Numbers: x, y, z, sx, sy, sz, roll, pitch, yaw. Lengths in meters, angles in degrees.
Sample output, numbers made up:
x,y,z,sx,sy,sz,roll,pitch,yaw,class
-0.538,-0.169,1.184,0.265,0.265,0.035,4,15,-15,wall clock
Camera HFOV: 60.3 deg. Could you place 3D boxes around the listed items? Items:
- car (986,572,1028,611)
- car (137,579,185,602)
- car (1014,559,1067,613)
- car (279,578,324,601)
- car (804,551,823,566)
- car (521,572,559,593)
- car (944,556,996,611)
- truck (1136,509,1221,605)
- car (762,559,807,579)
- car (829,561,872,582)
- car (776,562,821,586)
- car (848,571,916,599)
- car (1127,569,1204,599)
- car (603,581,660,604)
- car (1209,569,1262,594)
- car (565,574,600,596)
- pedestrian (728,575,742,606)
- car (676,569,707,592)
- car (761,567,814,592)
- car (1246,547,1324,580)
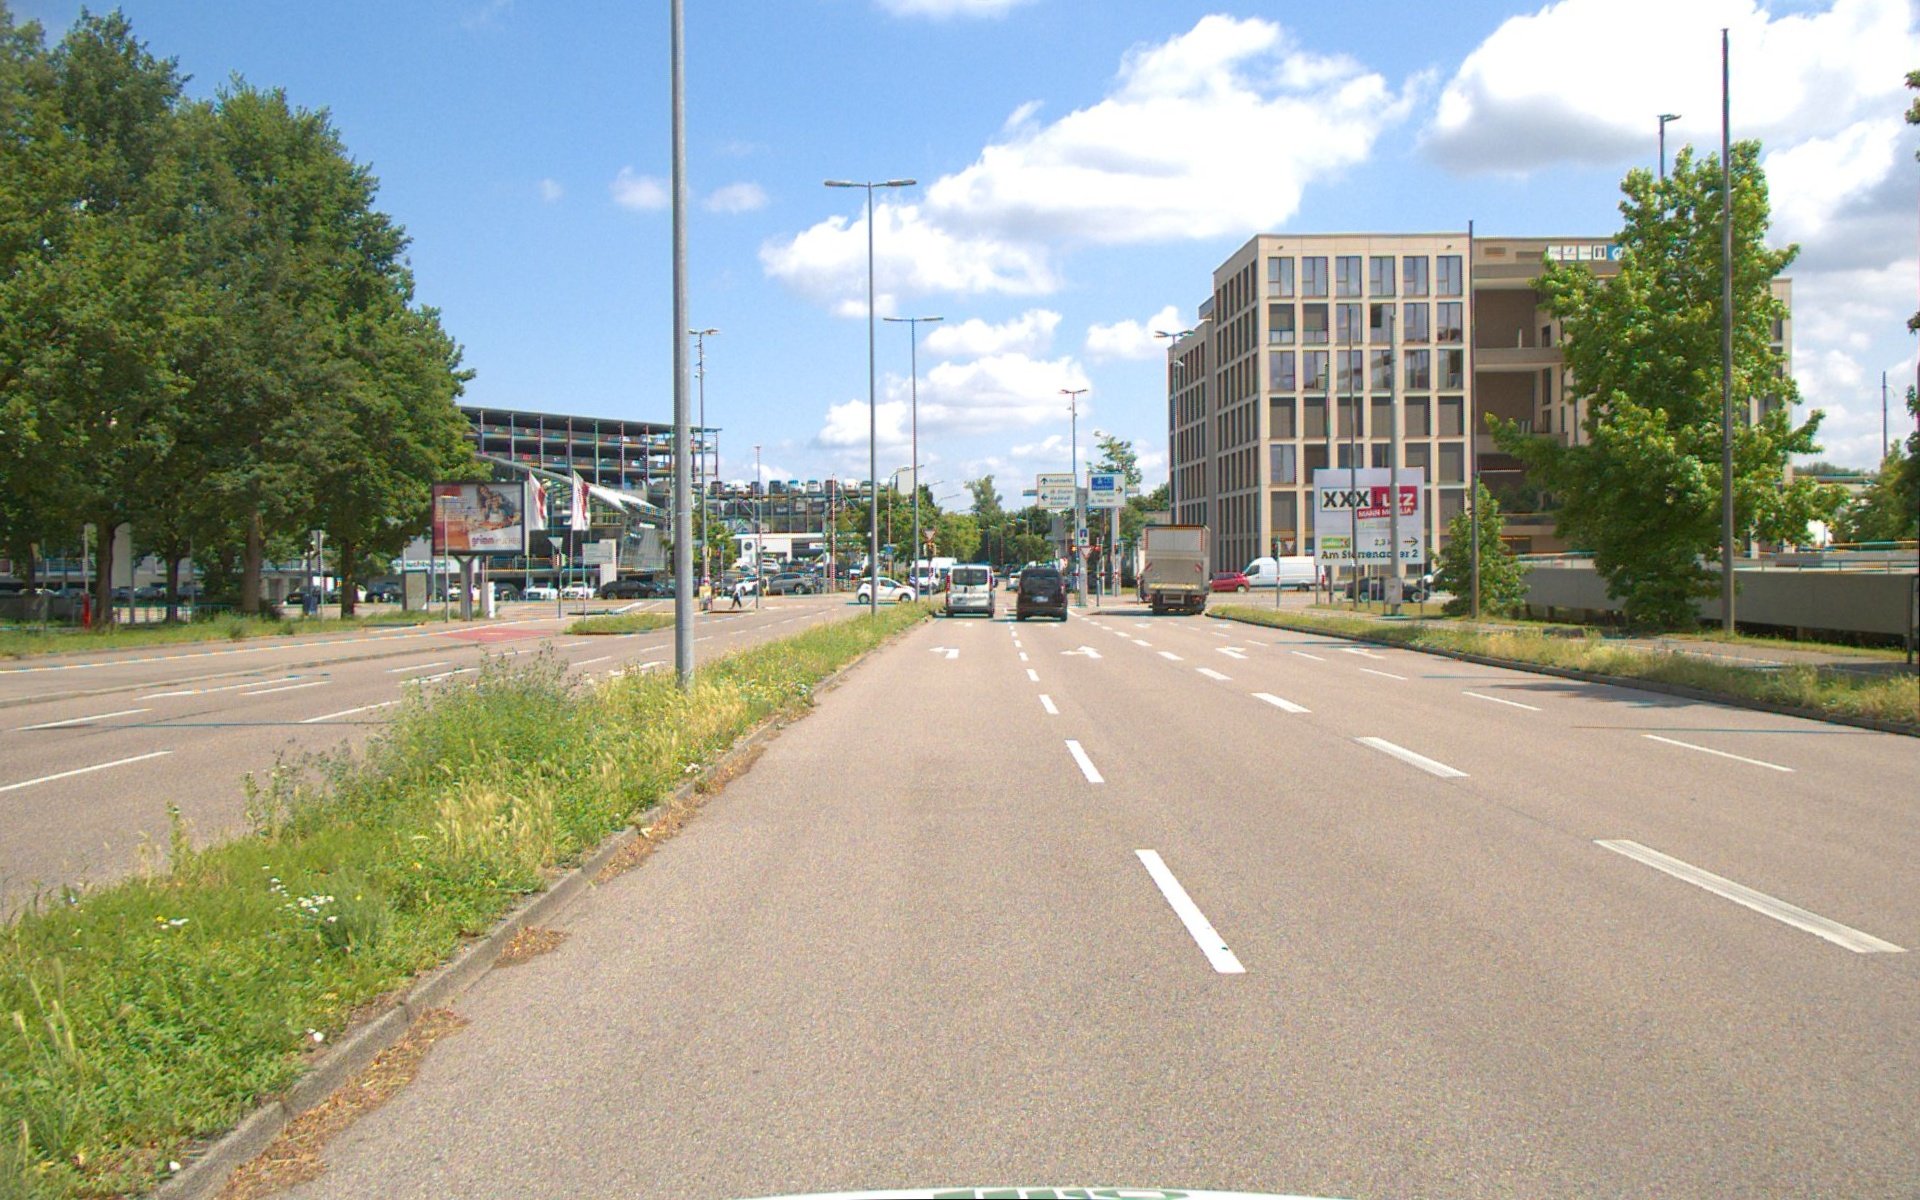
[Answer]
x,y,z,sx,sy,sz,roll,pitch,yaw,class
1.963,-0.358,69.090,1.704,1.570,4.001,0,1,2,car
-56.281,-0.688,116.497,1.693,1.512,3.700,0,2,-3,car
2.913,-0.529,59.323,1.781,1.840,4.002,0,1,4,car
-45.511,-0.746,114.346,1.800,1.513,3.699,0,2,-4,car
-15.471,-4.347,174.838,1.809,1.556,3.998,0,2,-3,car
-29.684,-1.214,116.861,1.869,1.400,3.751,0,2,-3,car
0.406,-0.674,64.229,1.817,2.053,4.002,0,2,3,car
9.830,-1.931,73.516,3.063,4.009,8.867,0,2,12,truck
-16.288,-2.889,153.475,4.083,1.742,1.687,1,1,-5,car
-10.201,-2.685,154.200,3.909,1.959,1.825,0,1,-6,car
-12.992,-2.114,133.317,3.438,1.742,1.603,-2,2,-3,car
-4.381,-0.856,92.763,3.775,1.492,1.694,0,2,-5,car
11.447,-0.892,92.063,4.056,1.529,1.628,-2,2,12,car
-23.194,-0.521,116.862,3.717,1.539,1.678,0,2,-4,car
17.961,-1.198,107.858,3.206,1.428,1.335,0,10,-2,car
-26.732,-1.087,117.163,1.740,1.475,4.028,0,2,-3,car
-11.404,-0.480,83.818,0.460,1.538,0.511,0,1,26,pedestrian
-19.068,-1.381,117.409,1.787,1.579,3.983,0,1,-16,car
-12.777,-1.505,122.665,3.784,1.668,1.857,-2,2,-3,car
22.899,-2.565,116.603,5.379,2.294,2.002,0,2,10,car
